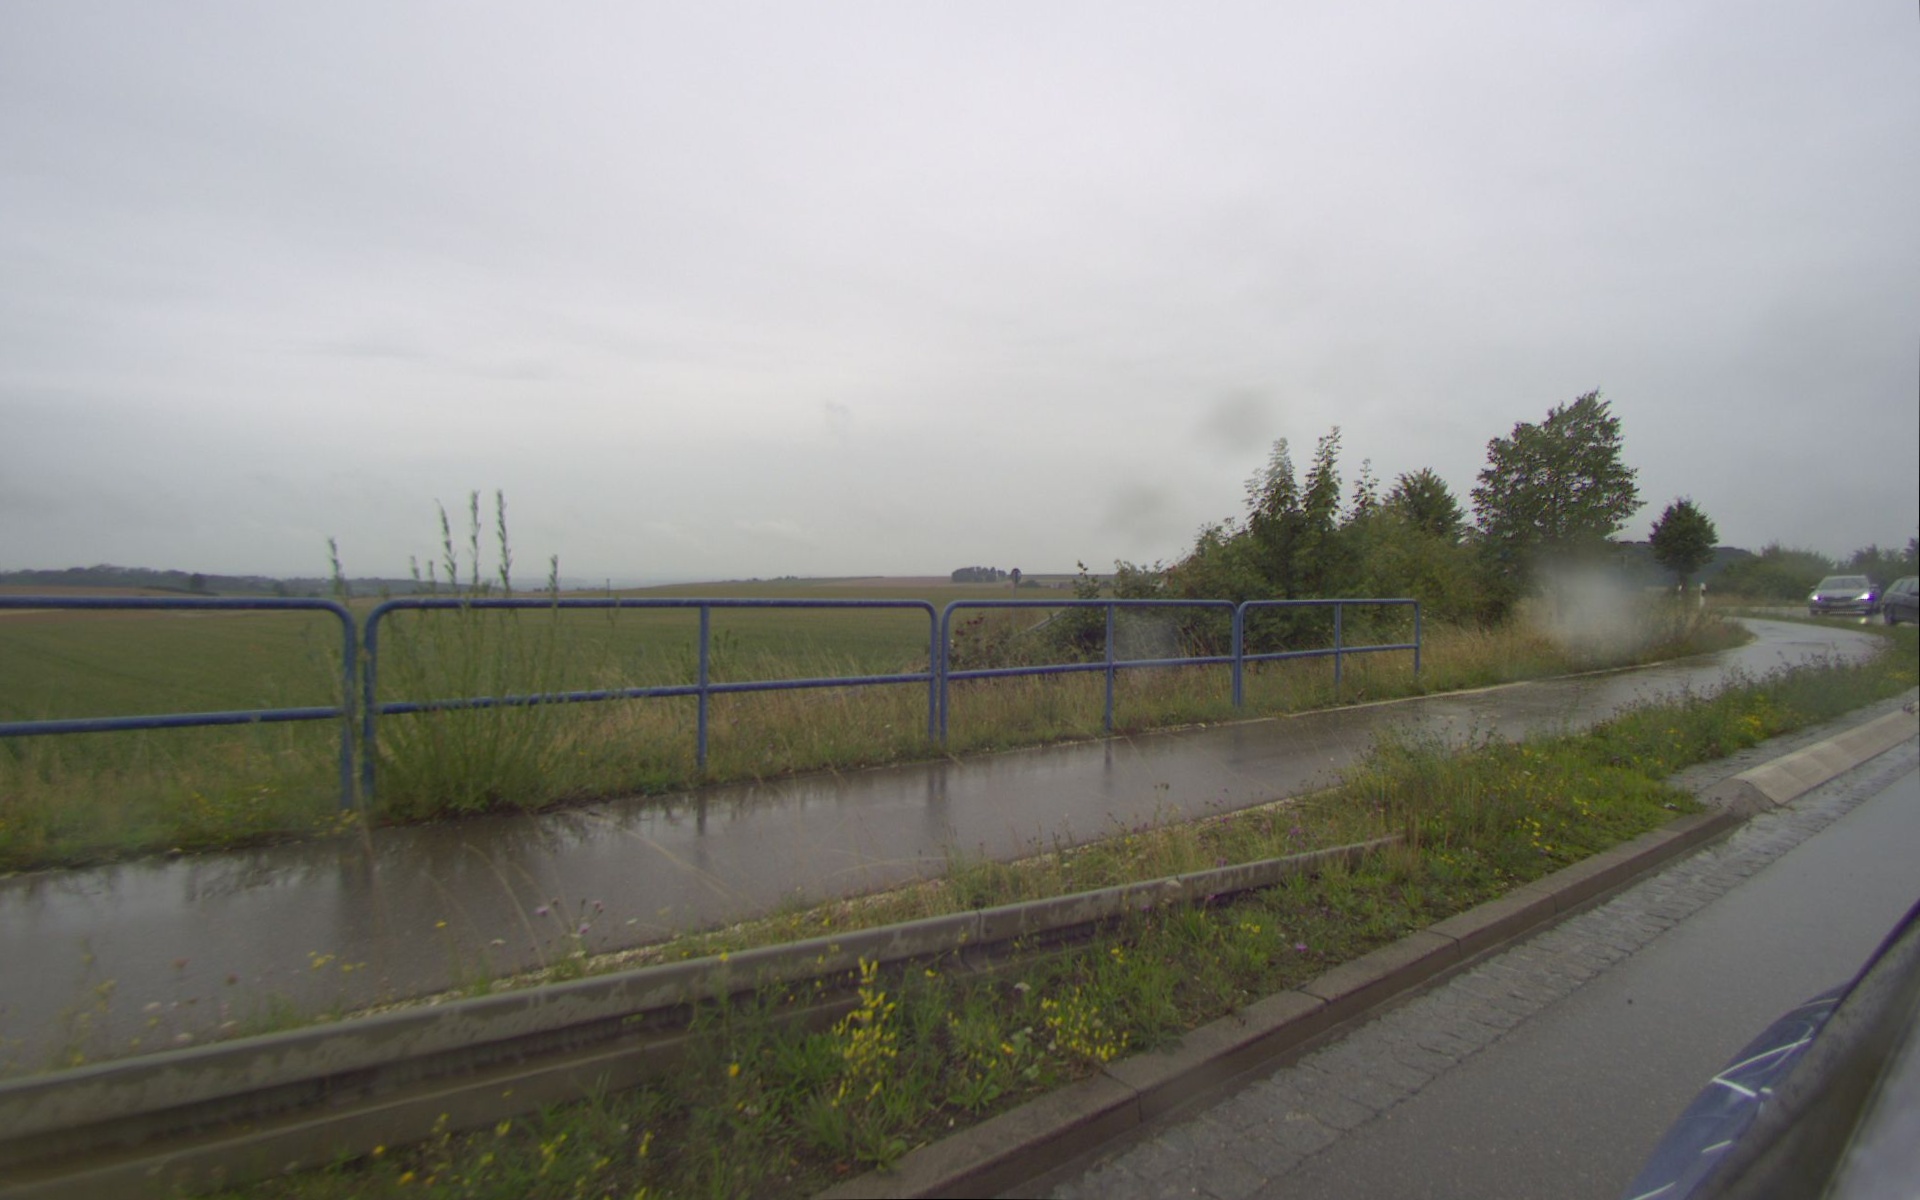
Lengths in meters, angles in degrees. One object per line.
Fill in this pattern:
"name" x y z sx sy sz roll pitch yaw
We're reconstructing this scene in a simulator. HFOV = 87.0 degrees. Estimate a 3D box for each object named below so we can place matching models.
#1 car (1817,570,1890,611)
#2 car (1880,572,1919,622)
"car" 33.792 -0.347 38.364 1.755 1.438 4.441 3 2 38
"car" 27.867 -0.041 28.289 1.931 1.388 4.463 3 1 26
